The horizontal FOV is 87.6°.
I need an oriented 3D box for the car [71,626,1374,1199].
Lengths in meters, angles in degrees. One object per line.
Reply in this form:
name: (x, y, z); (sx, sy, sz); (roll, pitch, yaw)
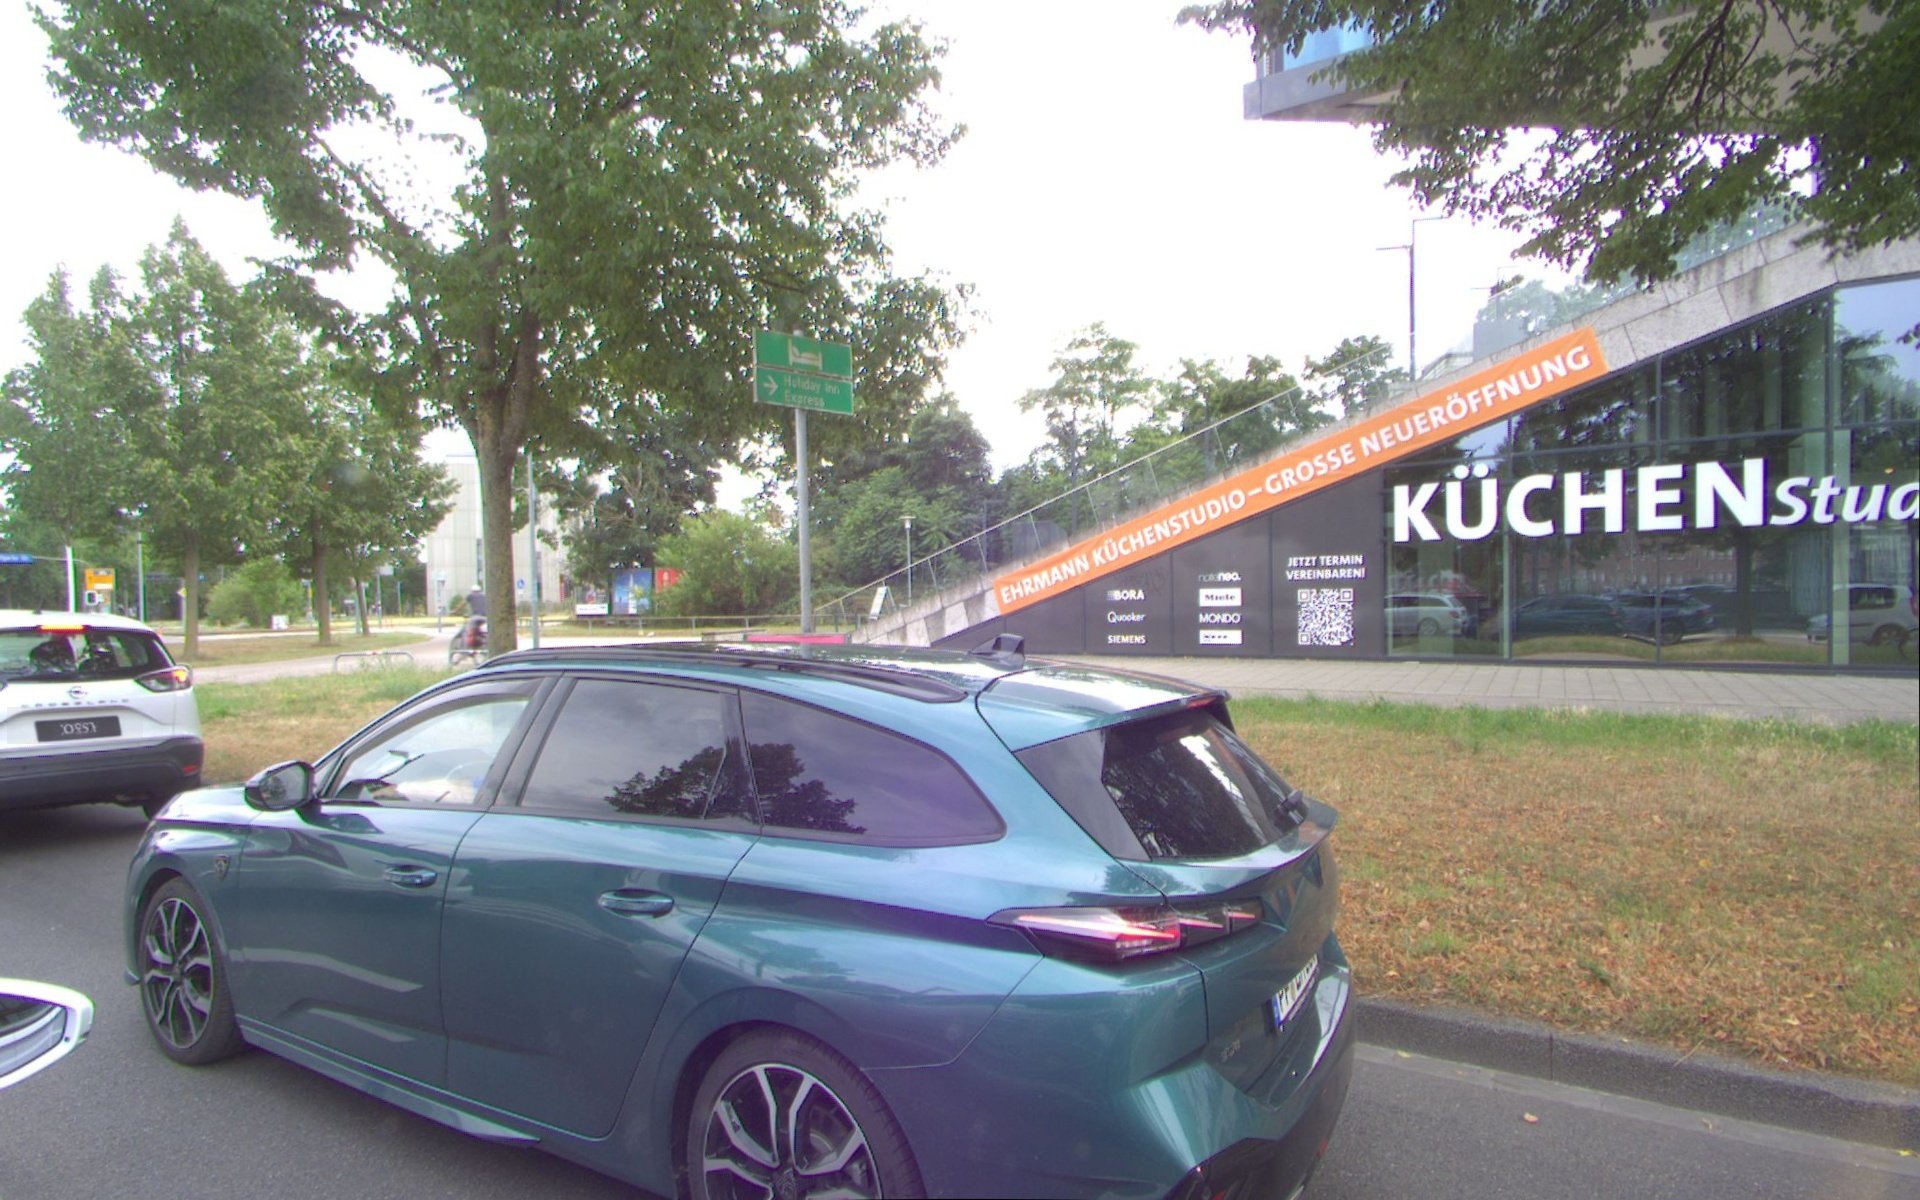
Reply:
car: (-0.973, 0.835, 3.412); (4.245, 1.450, 1.786); (0, -1, 29)

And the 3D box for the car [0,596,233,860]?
car: (-7.413, 0.813, 7.598); (3.854, 1.646, 1.783); (0, 0, 33)

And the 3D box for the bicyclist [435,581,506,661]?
bicyclist: (-11.359, 0.473, 23.253); (1.114, 1.761, 0.993); (0, 4, 36)

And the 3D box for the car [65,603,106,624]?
car: (-69.754, 1.057, 79.955); (1.764, 1.658, 4.375); (-1, 0, -32)

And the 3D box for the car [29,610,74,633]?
car: (-76.685, 1.862, 84.574); (1.972, 1.813, 3.980); (2, -3, -30)

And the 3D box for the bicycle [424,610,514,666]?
bicycle: (-11.448, 0.858, 23.334); (2.237, 1.251, 0.899); (0, 0, 34)
